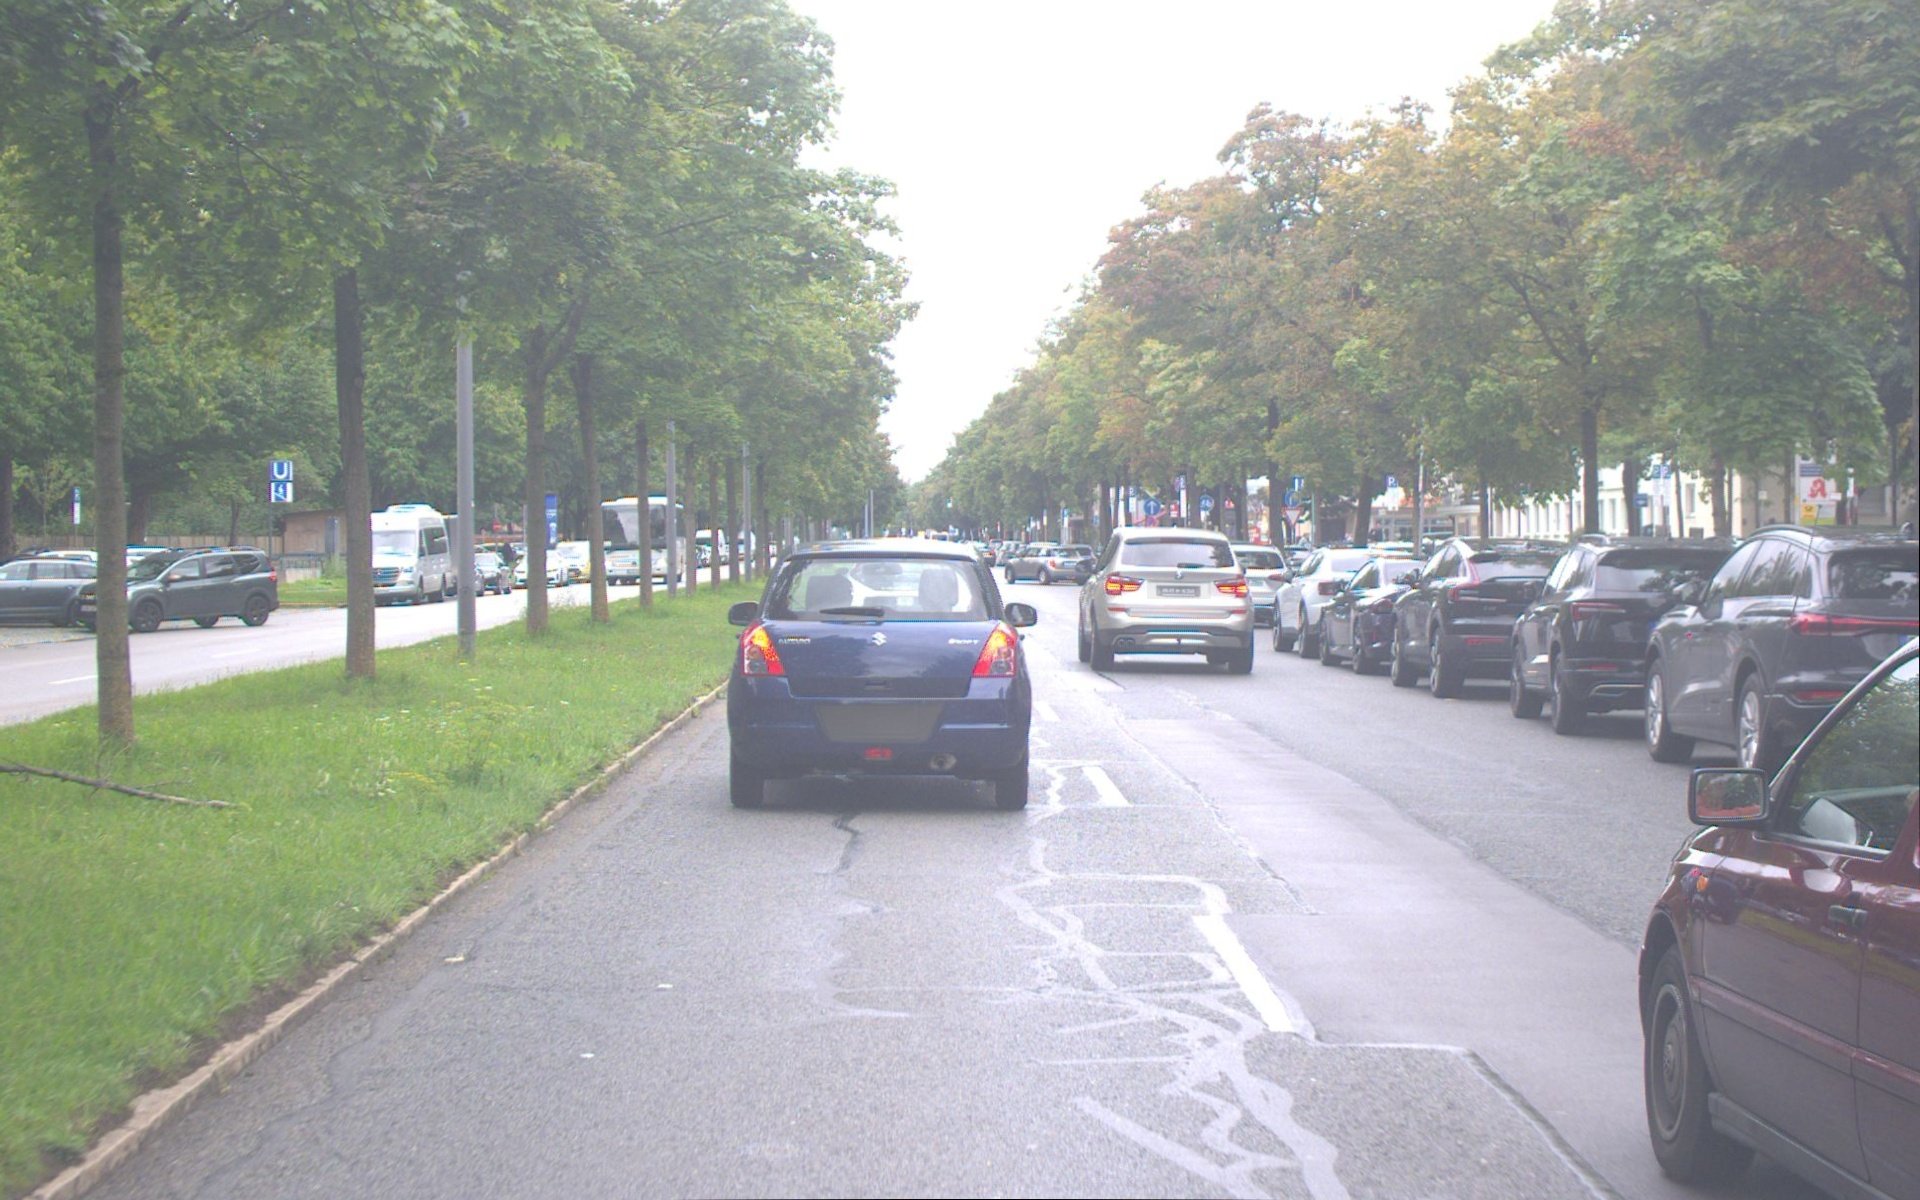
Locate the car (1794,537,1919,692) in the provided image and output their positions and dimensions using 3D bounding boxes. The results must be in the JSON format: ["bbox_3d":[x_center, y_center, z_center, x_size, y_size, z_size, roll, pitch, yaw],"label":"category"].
[{"bbox_3d":[9.889,0.104,34.914,1.747,1.474,4.009,0,1,-2],"label":"car"}]

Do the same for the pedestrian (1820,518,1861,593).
[{"bbox_3d":[20.072,-1.019,78.355,0.747,1.700,0.702,0,1,0],"label":"pedestrian"}]

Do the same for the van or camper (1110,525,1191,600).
[{"bbox_3d":[5.086,-1.027,92.110,1.944,1.968,4.306,0,1,0],"label":"van or camper"}]

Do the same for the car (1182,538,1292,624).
[{"bbox_3d":[5.158,-0.383,64.361,1.684,1.520,4.456,1,1,0],"label":"car"}]

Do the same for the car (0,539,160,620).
[{"bbox_3d":[-19.717,-0.466,74.738,4.095,1.689,1.919,-1,1,-34],"label":"car"}]

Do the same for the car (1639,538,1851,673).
[{"bbox_3d":[9.627,0.024,42.422,1.684,1.580,4.009,0,1,0],"label":"car"}]

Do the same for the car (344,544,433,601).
[{"bbox_3d":[-15.925,-0.794,95.957,1.913,1.537,4.188,-1,1,-2],"label":"car"}]

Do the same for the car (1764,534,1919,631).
[{"bbox_3d":[15.434,-0.334,59.792,1.684,1.627,4.499,0,1,-2],"label":"car"}]

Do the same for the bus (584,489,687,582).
[{"bbox_3d":[-12.531,-2.497,133.678,2.738,3.366,12.013,-2,1,0],"label":"bus"}]

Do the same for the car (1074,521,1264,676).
[{"bbox_3d":[2.413,-0.054,40.650,1.850,1.737,4.098,0,1,-2],"label":"car"}]

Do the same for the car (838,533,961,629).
[{"bbox_3d":[-0.990,-0.328,53.954,1.850,1.442,4.098,0,1,-2],"label":"car"}]

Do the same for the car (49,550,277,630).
[{"bbox_3d":[-16.307,-0.226,70.466,1.918,1.537,4.177,0,1,43],"label":"car"}]

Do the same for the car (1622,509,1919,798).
[{"bbox_3d":[5.704,0.273,22.608,1.761,1.695,4.820,0,1,0],"label":"car"}]

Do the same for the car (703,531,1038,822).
[{"bbox_3d":[-0.554,0.369,20.403,1.789,1.550,4.001,0,1,-2],"label":"car"}]

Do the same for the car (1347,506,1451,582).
[{"bbox_3d":[9.434,-1.218,74.090,1.684,1.580,4.028,0,1,-1],"label":"car"}]

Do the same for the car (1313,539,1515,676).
[{"bbox_3d":[5.368,0.044,41.144,1.764,1.541,4.424,0,1,-1],"label":"car"}]

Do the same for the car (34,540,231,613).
[{"bbox_3d":[-19.582,-0.568,81.398,4.095,1.647,1.919,-1,1,-34],"label":"car"}]

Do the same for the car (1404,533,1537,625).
[{"bbox_3d":[9.395,-0.425,63.531,1.684,1.627,4.781,0,1,-1],"label":"car"}]

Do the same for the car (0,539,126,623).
[{"bbox_3d":[-19.608,-0.389,71.203,4.095,1.689,1.919,-1,1,-34],"label":"car"}]

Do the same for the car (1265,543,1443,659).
[{"bbox_3d":[5.325,-0.026,46.973,1.706,1.449,4.512,2,1,-2],"label":"car"}]

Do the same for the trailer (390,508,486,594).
[{"bbox_3d":[-15.985,-1.519,105.471,2.106,2.531,5.577,0,1,0],"label":"trailer"}]

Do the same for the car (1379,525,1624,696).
[{"bbox_3d":[5.502,0.063,35.428,1.764,1.646,4.424,0,1,-1],"label":"car"}]

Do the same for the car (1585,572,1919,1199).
[{"bbox_3d":[2.436,0.689,6.761,1.622,1.449,3.950,0,1,-1],"label":"car"}]

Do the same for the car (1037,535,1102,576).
[{"bbox_3d":[3.900,-1.609,123.142,1.850,1.442,4.098,0,1,-5],"label":"car"}]

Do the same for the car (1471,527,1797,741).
[{"bbox_3d":[5.543,0.222,28.783,1.722,1.646,4.389,0,1,-2],"label":"car"}]
